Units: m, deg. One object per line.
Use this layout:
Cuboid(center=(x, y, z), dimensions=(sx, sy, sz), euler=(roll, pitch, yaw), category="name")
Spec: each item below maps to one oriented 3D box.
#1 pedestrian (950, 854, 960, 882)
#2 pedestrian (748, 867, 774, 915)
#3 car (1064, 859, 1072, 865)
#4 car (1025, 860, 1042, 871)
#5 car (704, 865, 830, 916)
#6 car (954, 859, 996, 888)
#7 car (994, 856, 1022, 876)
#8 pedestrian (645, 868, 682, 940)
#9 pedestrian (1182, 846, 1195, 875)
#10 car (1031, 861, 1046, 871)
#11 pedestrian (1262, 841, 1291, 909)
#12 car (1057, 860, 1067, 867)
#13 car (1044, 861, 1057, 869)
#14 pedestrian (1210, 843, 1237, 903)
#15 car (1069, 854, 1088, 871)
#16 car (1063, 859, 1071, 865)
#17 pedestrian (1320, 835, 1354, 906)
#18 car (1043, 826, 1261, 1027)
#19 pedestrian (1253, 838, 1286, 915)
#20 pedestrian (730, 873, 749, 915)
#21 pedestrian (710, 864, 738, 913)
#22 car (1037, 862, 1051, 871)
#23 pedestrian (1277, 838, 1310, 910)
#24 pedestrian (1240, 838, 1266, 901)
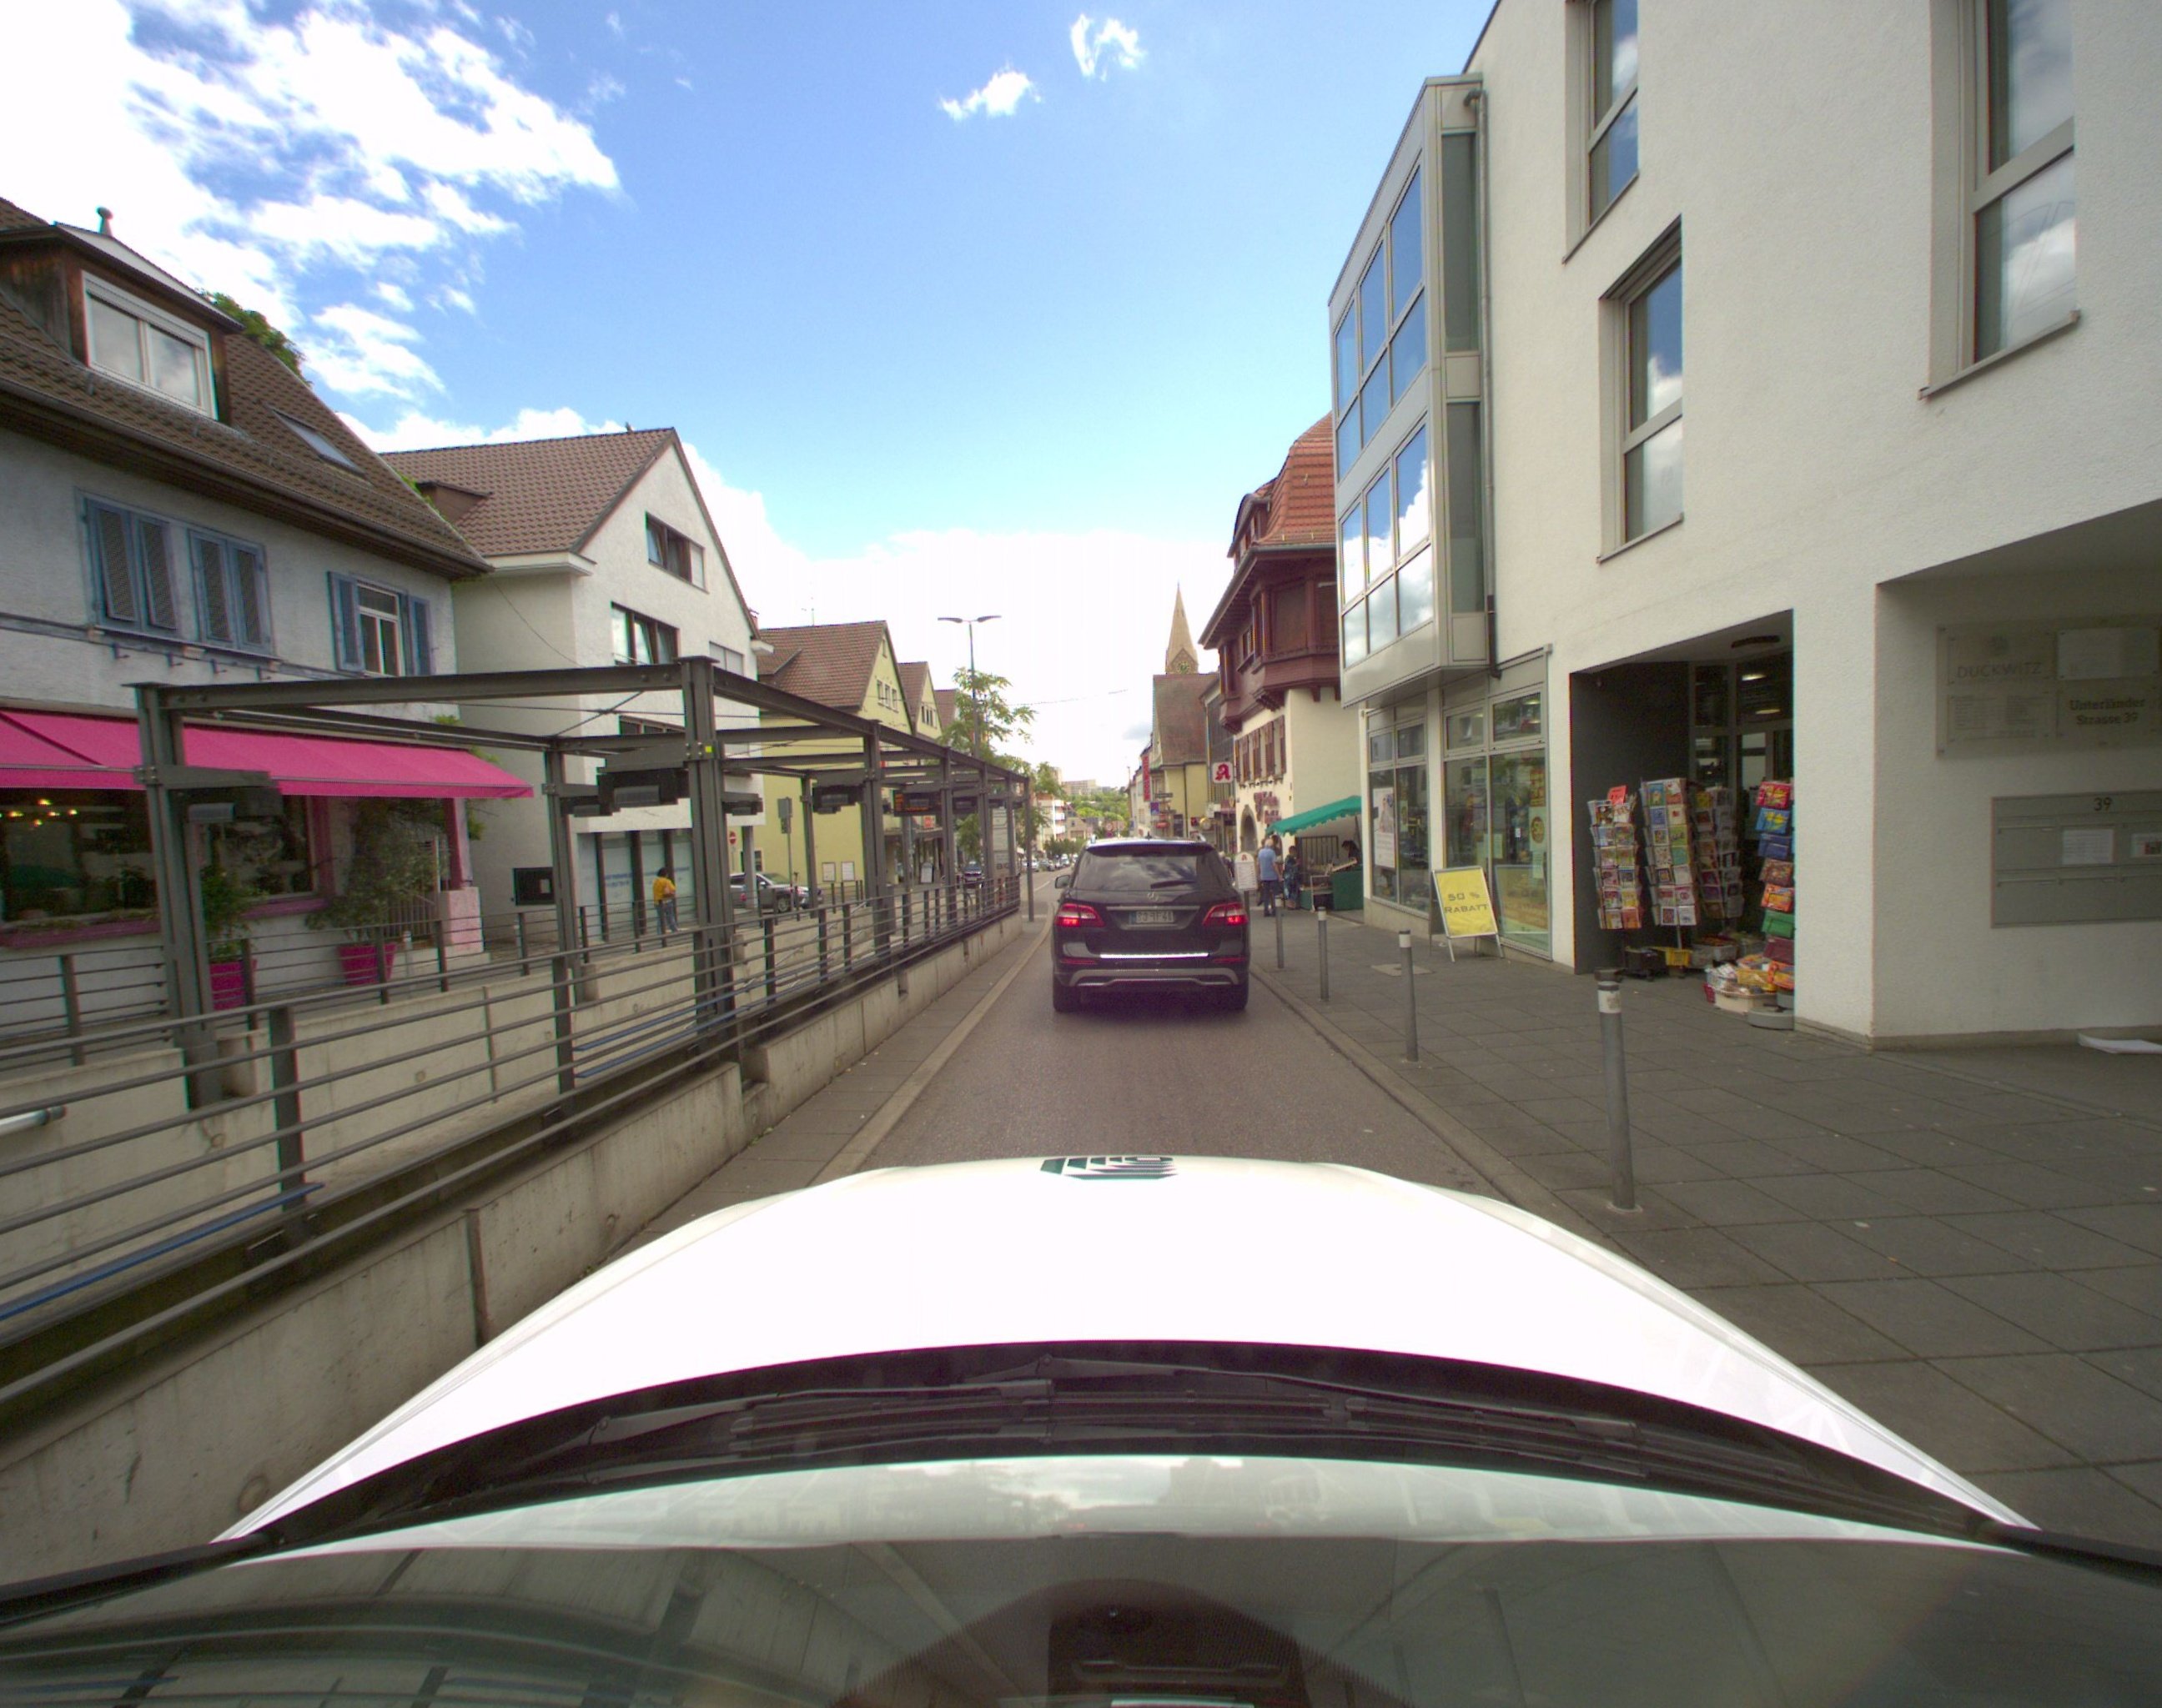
Cuboid(center=(-7.683, 0.844, 49.544), dimensions=(0.511, 1.689, 0.542), euler=(0, 0, 1), category="pedestrian")
Cuboid(center=(-11.287, 1.296, 28.764), dimensions=(0.623, 1.689, 0.679), euler=(0, 0, 1), category="pedestrian")
Cuboid(center=(-2.537, 1.662, 164.313), dimensions=(1.383, 1.070, 3.114), euler=(-3, 0, 2), category="car")
Cuboid(center=(-4.934, 1.189, 85.331), dimensions=(1.383, 1.070, 3.114), euler=(-3, 0, 2), category="car")
Cuboid(center=(-12.106, 1.399, 31.444), dimensions=(4.149, 1.731, 1.842), euler=(-3, -1, 15), category="car")
Cuboid(center=(-5.870, 1.045, 45.491), dimensions=(1.683, 1.490, 3.981), euler=(0, 0, 2), category="car")
Cuboid(center=(-5.617, 0.929, 62.681), dimensions=(1.654, 1.490, 3.750), euler=(0, 0, 2), category="car")
Cuboid(center=(-9.978, 1.175, 19.474), dimensions=(0.576, 1.689, 0.577), euler=(0, 0, 1), category="pedestrian")
Cuboid(center=(6.355, 0.382, 48.245), dimensions=(0.604, 1.688, 0.725), euler=(-3, 0, 1), category="pedestrian")
Cuboid(center=(-5.010, 1.448, 96.714), dimensions=(1.383, 1.070, 3.114), euler=(-3, 0, 2), category="car")
Cuboid(center=(5.005, 0.530, 20.856), dimensions=(0.572, 1.689, 0.565), euler=(0, 0, -5), category="pedestrian")
Cuboid(center=(-3.076, 1.512, 131.737), dimensions=(1.383, 1.070, 3.114), euler=(-3, 0, 2), category="car")
Cuboid(center=(-4.130, 1.471, 110.716), dimensions=(1.383, 1.070, 3.114), euler=(-3, 0, 2), category="car")
Cuboid(center=(4.065, 0.527, 23.230), dimensions=(0.620, 1.689, 0.565), euler=(0, 0, -5), category="pedestrian")
Cuboid(center=(-0.199, 0.821, 81.897), dimensions=(1.764, 1.713, 4.001), euler=(0, 0, 2), category="car")
Cuboid(center=(-2.721, 1.620, 159.026), dimensions=(1.383, 1.070, 3.114), euler=(-3, 0, 2), category="car")
Cuboid(center=(6.269, 0.392, 19.950), dimensions=(0.572, 1.689, 0.565), euler=(-3, 0, -5), category="pedestrian")
Cuboid(center=(0.633, 0.631, 9.126), dimensions=(1.894, 1.747, 4.000), euler=(0, 0, 0), category="car")
Cuboid(center=(4.311, 0.511, 18.652), dimensions=(0.541, 1.726, 0.527), euler=(-3, 0, -5), category="pedestrian")
Cuboid(center=(-11.859, 1.378, 28.286), dimensions=(0.455, 1.421, 0.533), euler=(0, 0, 0), category="pedestrian")
Cuboid(center=(-12.454, 1.197, 28.455), dimensions=(0.650, 1.689, 0.730), euler=(0, 0, -1), category="pedestrian")
Cuboid(center=(-4.643, 1.540, 102.532), dimensions=(1.383, 1.070, 3.114), euler=(-3, 0, 2), category="car")
Cuboid(center=(5.173, 0.478, 19.837), dimensions=(0.572, 1.689, 0.565), euler=(-3, 0, -5), category="pedestrian")
Cuboid(center=(5.023, 0.446, 23.822), dimensions=(0.637, 1.809, 0.685), euler=(0, 0, 1), category="pedestrian")
